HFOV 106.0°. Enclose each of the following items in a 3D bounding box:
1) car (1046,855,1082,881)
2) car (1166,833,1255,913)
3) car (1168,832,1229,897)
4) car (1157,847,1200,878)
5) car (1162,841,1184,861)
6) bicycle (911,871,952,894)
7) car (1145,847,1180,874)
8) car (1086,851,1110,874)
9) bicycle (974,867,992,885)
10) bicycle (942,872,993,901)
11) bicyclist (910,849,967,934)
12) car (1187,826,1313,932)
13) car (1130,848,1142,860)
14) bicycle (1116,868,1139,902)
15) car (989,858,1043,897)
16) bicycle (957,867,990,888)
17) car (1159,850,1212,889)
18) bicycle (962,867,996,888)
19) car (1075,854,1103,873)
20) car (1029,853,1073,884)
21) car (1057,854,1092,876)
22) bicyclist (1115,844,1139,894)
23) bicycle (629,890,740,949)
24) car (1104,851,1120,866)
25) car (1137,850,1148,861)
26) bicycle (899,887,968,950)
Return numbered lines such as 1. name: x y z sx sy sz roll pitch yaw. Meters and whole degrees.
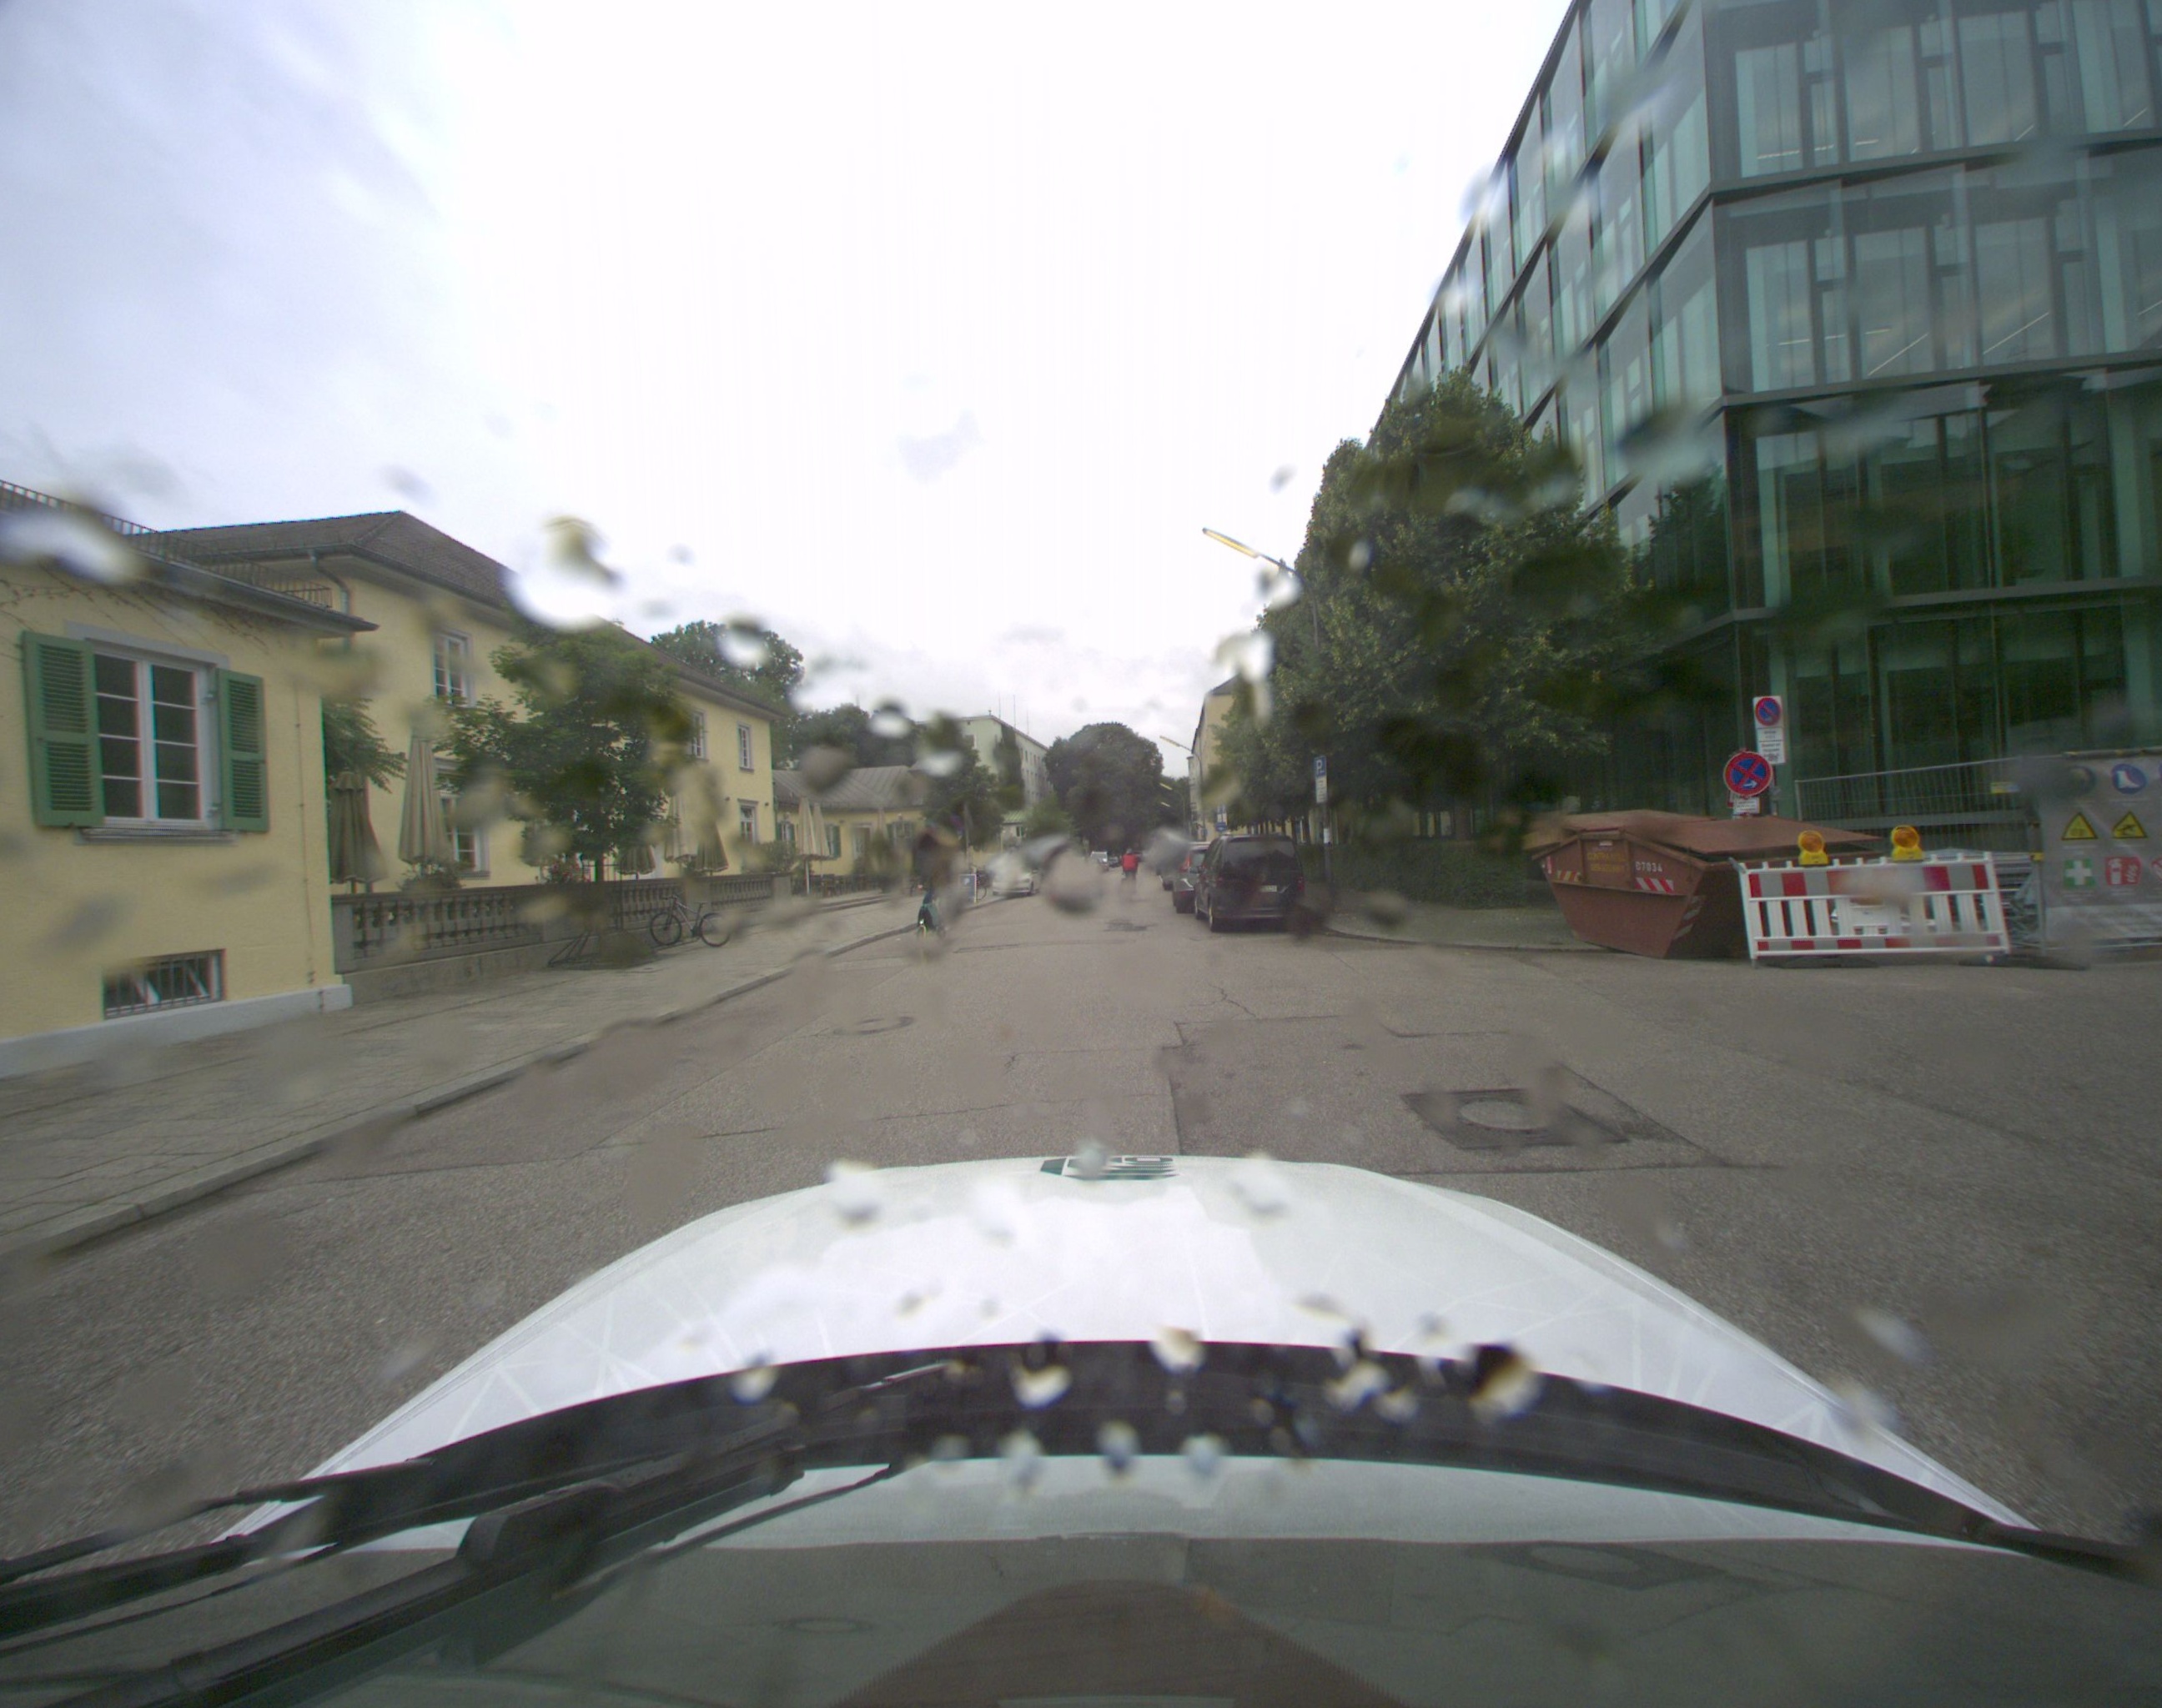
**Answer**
1. car: -1.084 0.906 53.258 1.985 1.603 4.003 -3 -1 3
2. car: 3.275 0.431 21.386 1.854 1.793 4.515 -3 0 5
3. car: 3.908 0.309 27.581 1.741 1.943 4.234 -3 0 5
4. car: 5.282 0.441 44.606 1.986 1.552 4.002 -3 0 2
5. car: 10.137 -0.330 90.145 1.986 2.060 4.626 -3 0 2
6. bicycle: -6.499 1.237 35.404 1.620 0.926 0.646 -3 -2 -23
7. car: 5.293 0.428 53.575 1.986 1.618 4.002 -3 0 2
8. car: 1.703 0.782 79.664 1.985 2.079 4.005 -3 0 4
9. bicycle: -5.695 1.271 47.429 0.618 1.004 1.622 -3 -1 8
10. bicycle: -4.331 1.218 31.151 0.615 1.004 2.154 0 1 35
11. bicyclist: -2.774 0.715 15.930 0.739 1.576 0.979 -3 0 8
12. car: 3.277 0.434 16.558 1.754 1.823 4.141 -2 0 2
13. car: 9.530 0.009 139.983 1.985 2.098 4.005 0 0 4
14. bicycle: 1.491 0.975 25.834 0.618 1.004 2.142 -4 -1 5
15. car: -2.782 0.974 35.631 1.725 1.581 3.793 0 0 5
16. bicycle: -5.748 1.257 43.546 1.625 1.004 0.617 -4 -1 -34
17. car: 4.190 0.583 33.111 1.854 1.440 4.260 -2 0 4
18. bicycle: -5.312 1.229 42.303 1.620 1.004 0.619 -3 -2 -23
19. car: 0.754 0.793 71.097 1.983 1.486 4.007 -3 0 6
20. car: -1.721 0.797 48.205 1.984 1.648 4.661 -3 0 5
21. car: -0.416 0.778 60.241 1.982 1.486 4.009 -1 0 8
22. bicyclist: 1.460 0.484 25.812 0.668 1.497 1.096 -3 -2 4
23. bicycle: -7.941 1.300 16.333 1.921 1.099 0.615 -1 0 4
24. car: 3.886 0.514 102.391 1.802 1.683 4.005 -3 0 4
25. car: 11.398 0.258 151.482 1.984 2.014 4.006 -1 -1 6
26. bicycle: -2.821 1.207 15.828 0.618 1.004 2.145 -3 0 8
